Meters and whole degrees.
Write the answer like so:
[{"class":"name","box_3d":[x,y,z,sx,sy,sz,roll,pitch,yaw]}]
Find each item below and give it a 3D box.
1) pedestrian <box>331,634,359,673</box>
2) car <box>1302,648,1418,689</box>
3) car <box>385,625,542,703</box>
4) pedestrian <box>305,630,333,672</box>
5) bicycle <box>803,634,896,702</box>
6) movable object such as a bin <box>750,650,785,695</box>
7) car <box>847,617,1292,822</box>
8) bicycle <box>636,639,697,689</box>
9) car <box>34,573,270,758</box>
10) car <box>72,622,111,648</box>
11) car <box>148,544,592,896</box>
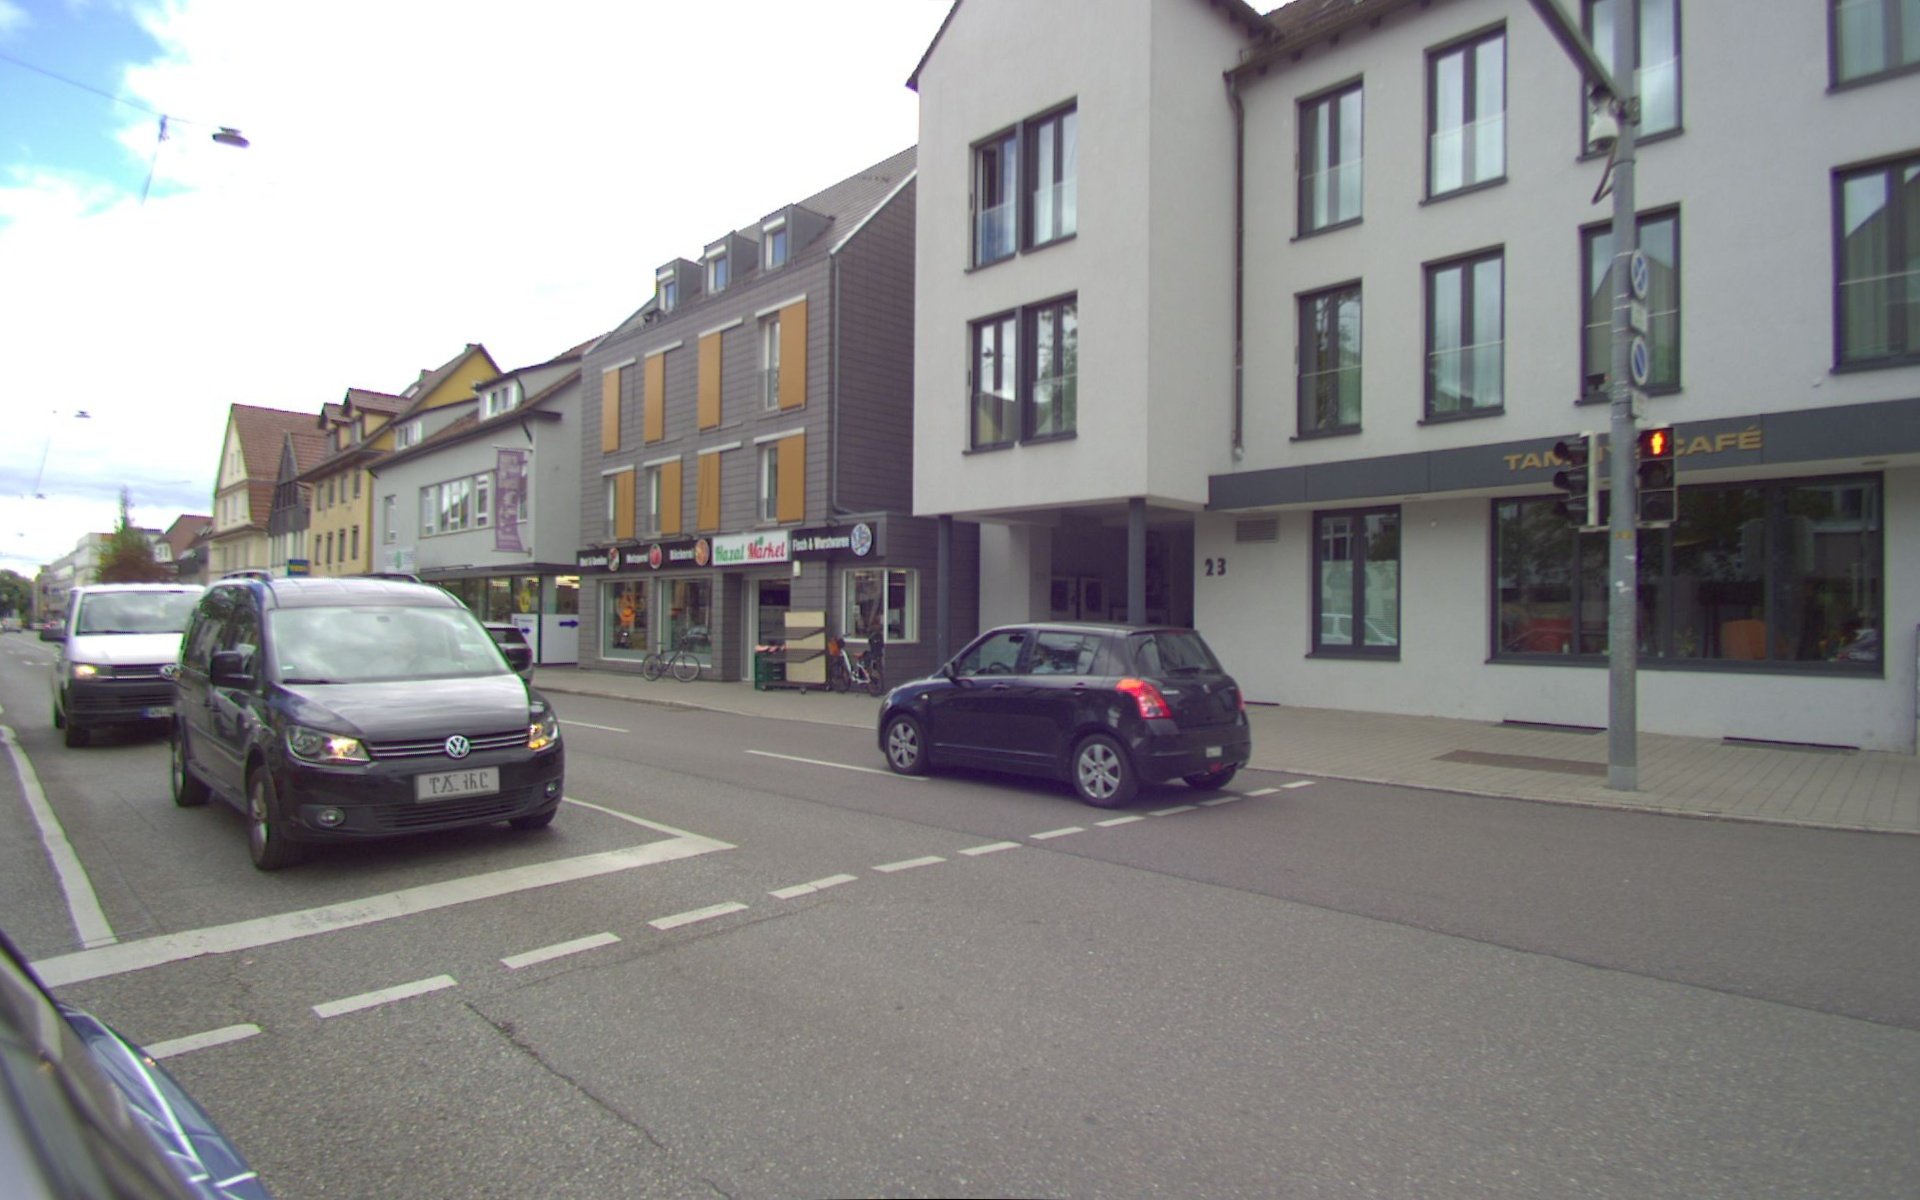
[{"class":"pedestrian","box_3d":[-25.553,2.201,42.042,0.800,1.595,0.921,1,-2,-44]},{"class":"car","box_3d":[12.470,2.110,31.705,1.375,1.189,3.179,2,-3,-32]},{"class":"car","box_3d":[-10.734,1.305,21.761,1.847,1.497,4.002,1,-2,-45]},{"class":"pedestrian","box_3d":[-26.105,2.064,41.226,0.800,1.674,0.921,1,-2,-44]},{"class":"bicycle","box_3d":[-2.153,1.278,19.508,2.120,1.241,0.575,-2,-2,44]},{"class":"movable object such as a bin","box_3d":[-4.049,1.526,21.295,0.507,0.906,0.544,-2,-2,44]},{"class":"car","box_3d":[0.833,0.927,9.241,1.724,1.470,3.820,2,-3,-44]},{"class":"bicycle","box_3d":[-7.008,1.503,24.123,0.565,1.109,1.904,1,-2,-44]},{"class":"car","box_3d":[-10.937,0.753,13.551,1.971,2.029,4.843,-1,0,-44]},{"class":"car","box_3d":[-68.108,2.711,79.351,4.772,1.984,1.901,-2,-3,45]},{"class":"car","box_3d":[-4.591,0.654,7.496,4.573,1.834,1.688,-2,0,45]}]
